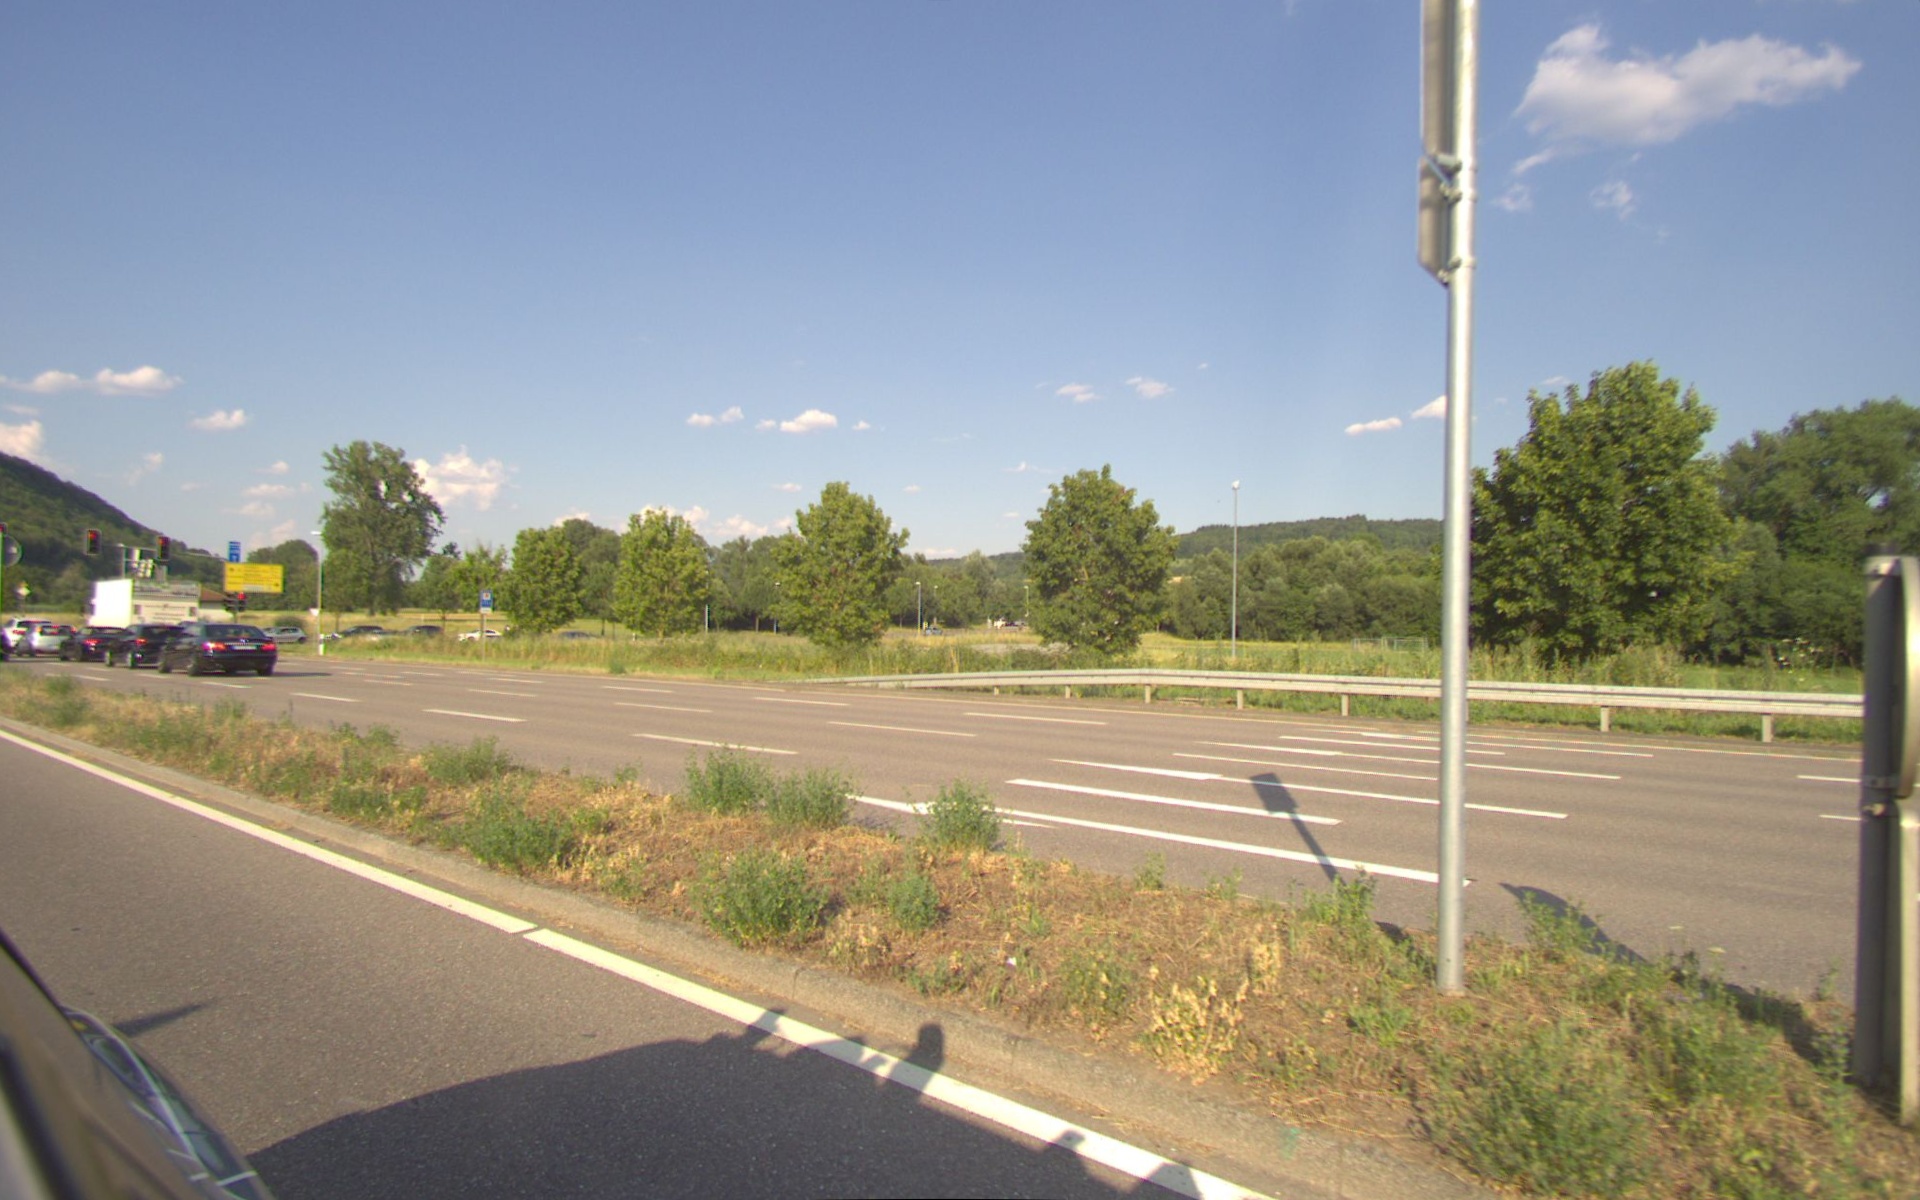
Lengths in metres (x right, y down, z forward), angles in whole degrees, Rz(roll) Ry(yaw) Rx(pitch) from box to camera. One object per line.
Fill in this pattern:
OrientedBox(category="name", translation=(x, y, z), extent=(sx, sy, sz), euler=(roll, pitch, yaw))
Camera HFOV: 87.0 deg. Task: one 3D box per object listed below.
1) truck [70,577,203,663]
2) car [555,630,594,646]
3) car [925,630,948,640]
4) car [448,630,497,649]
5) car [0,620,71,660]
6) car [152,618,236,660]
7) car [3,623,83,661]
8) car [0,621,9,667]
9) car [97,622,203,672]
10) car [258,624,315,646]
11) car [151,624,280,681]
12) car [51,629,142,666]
OrientedBox(category="truck", translation=(-39.649, 0.900, 48.560), extent=(10.491, 3.718, 2.903), euler=(0, -3, 40))
OrientedBox(category="car", translation=(-37.633, 3.695, 98.823), extent=(1.376, 1.342, 3.385), euler=(0, 1, 33))
OrientedBox(category="car", translation=(-3.574, 5.389, 155.672), extent=(1.764, 1.378, 3.705), euler=(0, -2, 34))
OrientedBox(category="car", translation=(-48.717, 3.907, 101.124), extent=(1.587, 1.630, 4.212), euler=(0, 1, 33))
OrientedBox(category="car", translation=(-43.081, 1.834, 46.911), extent=(4.801, 1.691, 1.974), euler=(0, -2, 39))
OrientedBox(category="car", translation=(-30.782, 1.572, 40.626), extent=(3.996, 1.541, 1.745), euler=(0, -3, 39))
OrientedBox(category="car", translation=(-38.879, 1.757, 42.872), extent=(5.075, 1.416, 1.685), euler=(0, -2, 39))
OrientedBox(category="car", translation=(-34.632, 1.470, 35.158), extent=(3.996, 1.531, 1.763), euler=(0, -2, 39))
OrientedBox(category="car", translation=(-26.168, 1.500, 32.660), extent=(4.239, 1.485, 1.685), euler=(-1, -4, 38))
OrientedBox(category="car", translation=(-55.806, 2.884, 83.886), extent=(1.591, 1.630, 3.649), euler=(0, 1, 42))
OrientedBox(category="car", translation=(-20.925, 1.433, 28.378), extent=(4.721, 1.475, 1.698), euler=(-1, -4, 39))
OrientedBox(category="car", translation=(-32.392, 1.760, 37.929), extent=(4.812, 1.293, 1.685), euler=(-1, -3, 39))
